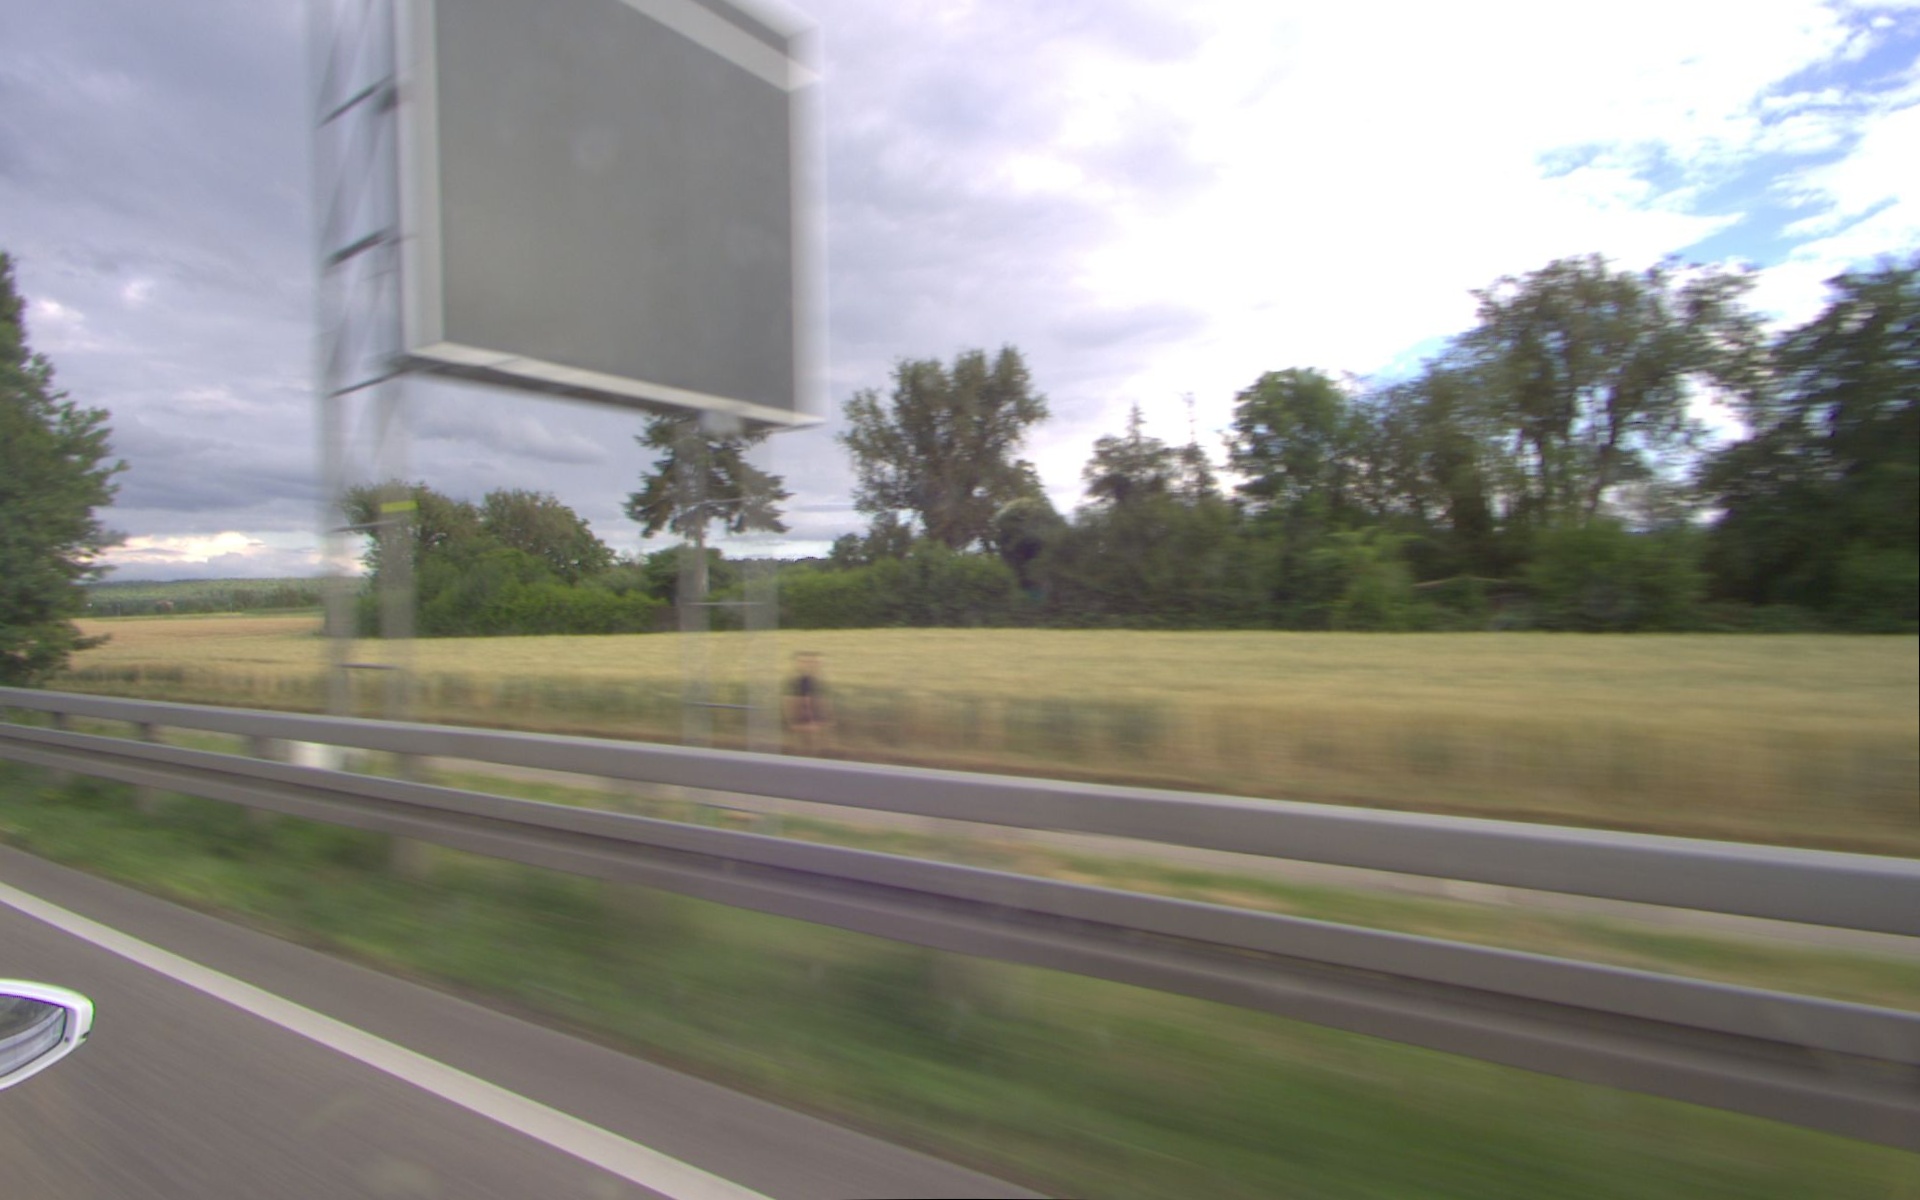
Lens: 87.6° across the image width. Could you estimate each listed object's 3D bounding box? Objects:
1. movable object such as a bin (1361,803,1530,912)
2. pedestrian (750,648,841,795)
[{"bbox_3d":[4.125,2.151,8.513,1.218,0.653,0.731,-1,-3,32],"label":"movable object such as a bin"},{"bbox_3d":[-2.215,1.595,13.507,0.927,1.891,0.770,-1,-2,32],"label":"pedestrian"}]
